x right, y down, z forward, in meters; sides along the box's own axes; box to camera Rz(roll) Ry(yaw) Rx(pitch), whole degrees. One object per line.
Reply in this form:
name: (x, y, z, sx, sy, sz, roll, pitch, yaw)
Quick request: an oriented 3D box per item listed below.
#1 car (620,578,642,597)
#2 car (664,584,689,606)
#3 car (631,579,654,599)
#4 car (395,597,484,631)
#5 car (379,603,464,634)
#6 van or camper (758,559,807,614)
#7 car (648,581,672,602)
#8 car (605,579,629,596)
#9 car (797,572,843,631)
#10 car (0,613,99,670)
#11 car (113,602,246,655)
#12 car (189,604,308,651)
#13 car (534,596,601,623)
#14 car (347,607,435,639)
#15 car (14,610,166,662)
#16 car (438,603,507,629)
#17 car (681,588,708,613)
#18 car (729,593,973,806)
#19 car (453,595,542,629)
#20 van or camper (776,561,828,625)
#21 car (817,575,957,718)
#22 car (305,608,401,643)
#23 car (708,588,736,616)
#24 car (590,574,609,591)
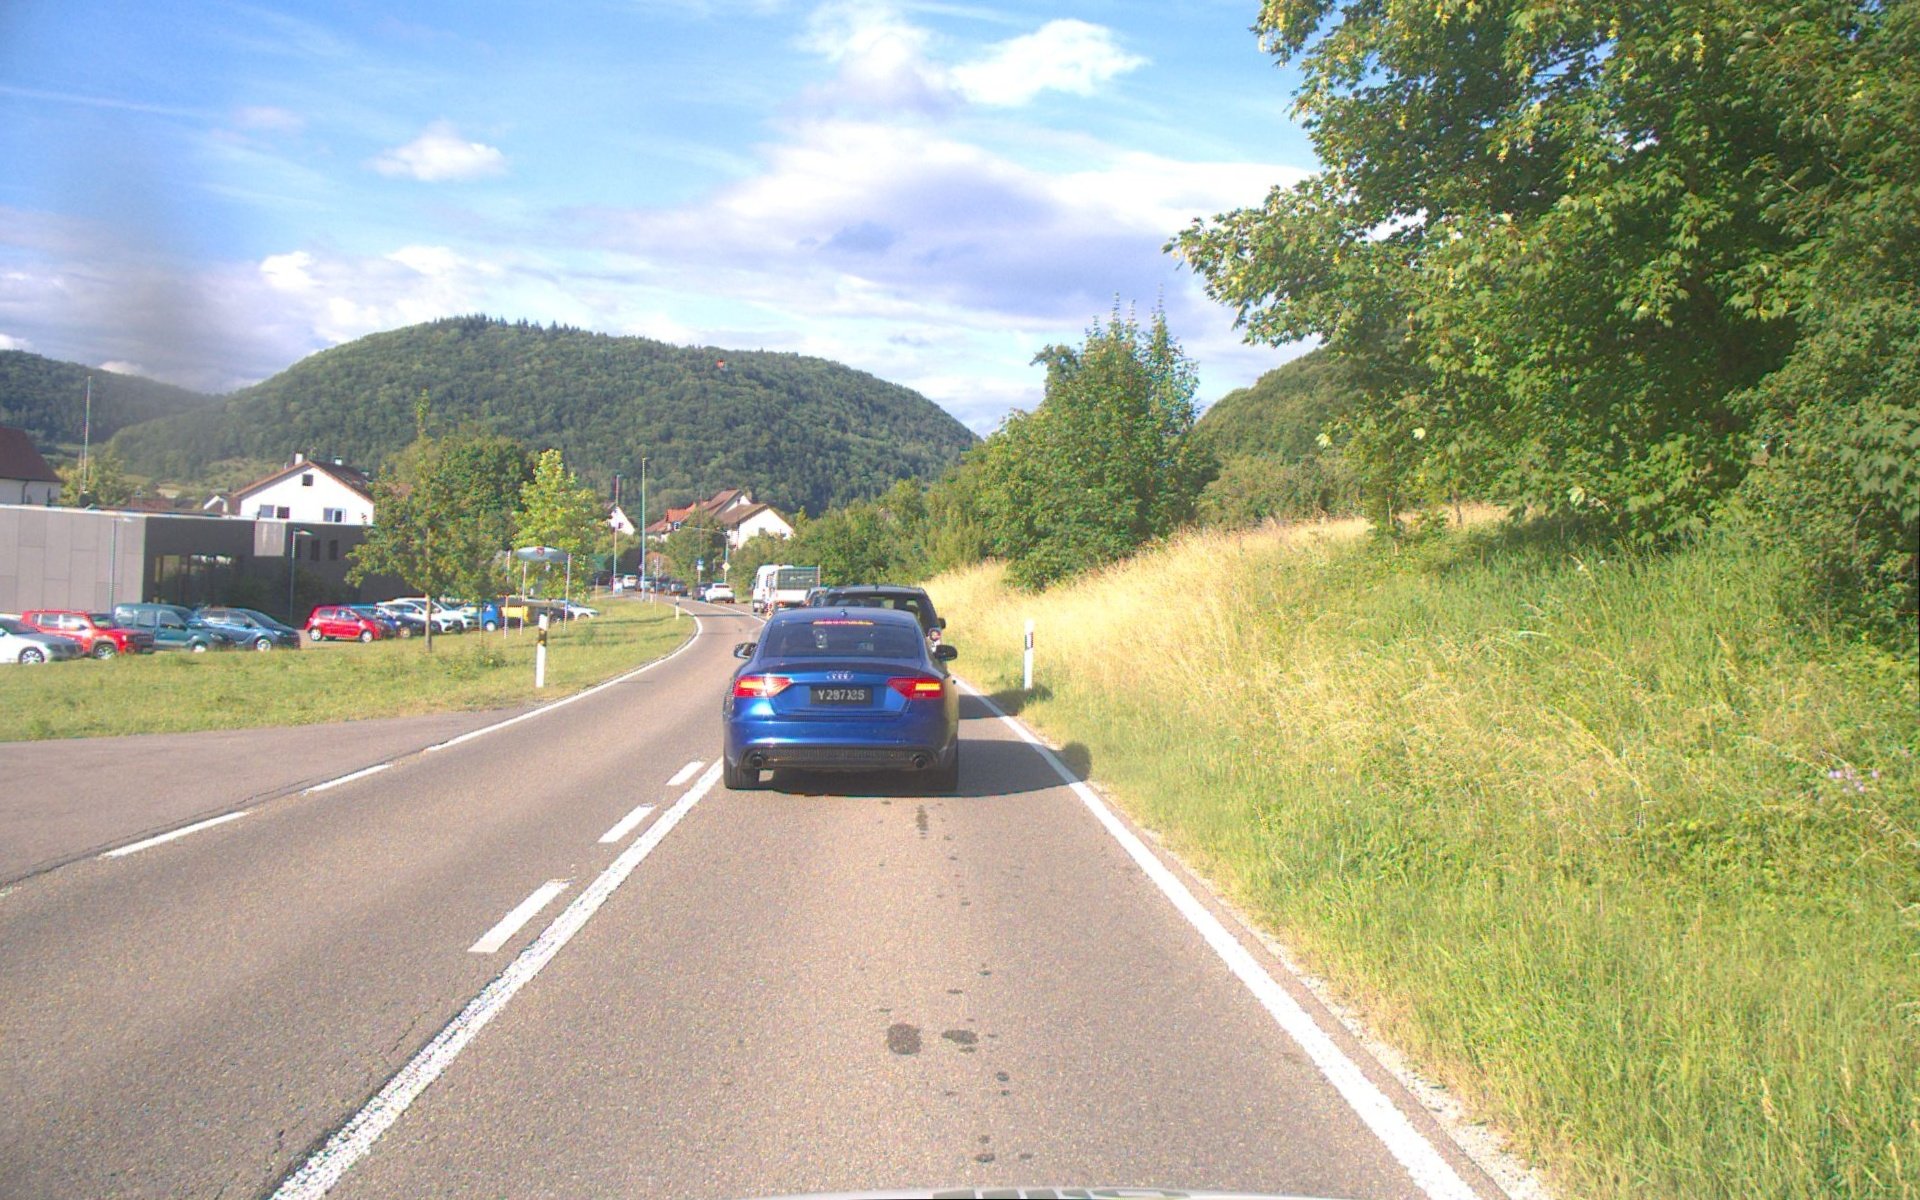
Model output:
car: (-35.552, -1.316, 178.448, 1.653, 1.958, 3.974, 0, 0, -21)
car: (-25.826, -0.482, 150.399, 1.634, 1.958, 3.978, 0, 0, -19)
car: (-32.518, -1.100, 169.438, 1.653, 1.958, 3.974, 0, 0, -21)
car: (-26.414, 0.710, 84.063, 3.991, 1.702, 1.597, 0, 1, 3)
car: (-26.294, 0.907, 80.818, 3.589, 1.520, 1.597, 0, -1, 3)
van or camper: (-9.379, -0.693, 87.083, 2.239, 2.761, 5.754, 0, 0, -9)
car: (-29.113, -0.809, 160.289, 1.653, 1.958, 3.976, 0, 0, -20)
car: (-38.605, -1.387, 186.099, 1.927, 1.958, 3.974, 0, 0, -21)
car: (-5.013, 0.042, 58.942, 1.537, 2.049, 3.995, 0, 0, -6)
car: (-28.391, 1.215, 49.148, 4.544, 1.616, 2.001, 0, 0, 2)
car: (-27.177, 0.968, 57.655, 3.782, 1.752, 1.756, 1, 0, 0)
car: (-26.786, 1.032, 62.349, 3.738, 1.752, 1.732, 0, 0, 2)
car: (-25.428, 0.631, 107.197, 3.951, 1.689, 1.656, 0, 0, 3)
car: (-26.701, 1.078, 77.663, 3.548, 1.430, 1.597, 0, -3, 3)
car: (-27.344, 1.120, 52.049, 3.838, 1.606, 1.756, 0, 0, 2)
car: (-26.523, 0.855, 89.978, 3.303, 1.397, 1.659, 0, 0, -5)
car: (-21.216, 0.041, 132.159, 1.633, 1.958, 3.982, 0, 0, -16)
car: (-0.830, 0.692, 13.420, 1.707, 1.476, 3.515, 0, 0, -2)
car: (-25.907, 0.689, 92.716, 4.458, 1.846, 1.842, 0, 0, 3)
van or camper: (-6.665, -0.288, 69.433, 2.013, 2.549, 5.802, 0, 0, -7)
car: (-0.994, 0.553, 21.492, 1.613, 1.653, 3.514, 2, 0, -4)
car: (-26.562, 1.114, 72.446, 3.548, 1.469, 1.649, 0, 0, 3)
car: (-17.543, 0.142, 121.625, 1.632, 1.958, 3.985, 0, 0, -14)
car: (-42.318, -2.004, 194.173, 1.653, 1.958, 3.974, 0, 0, -21)
